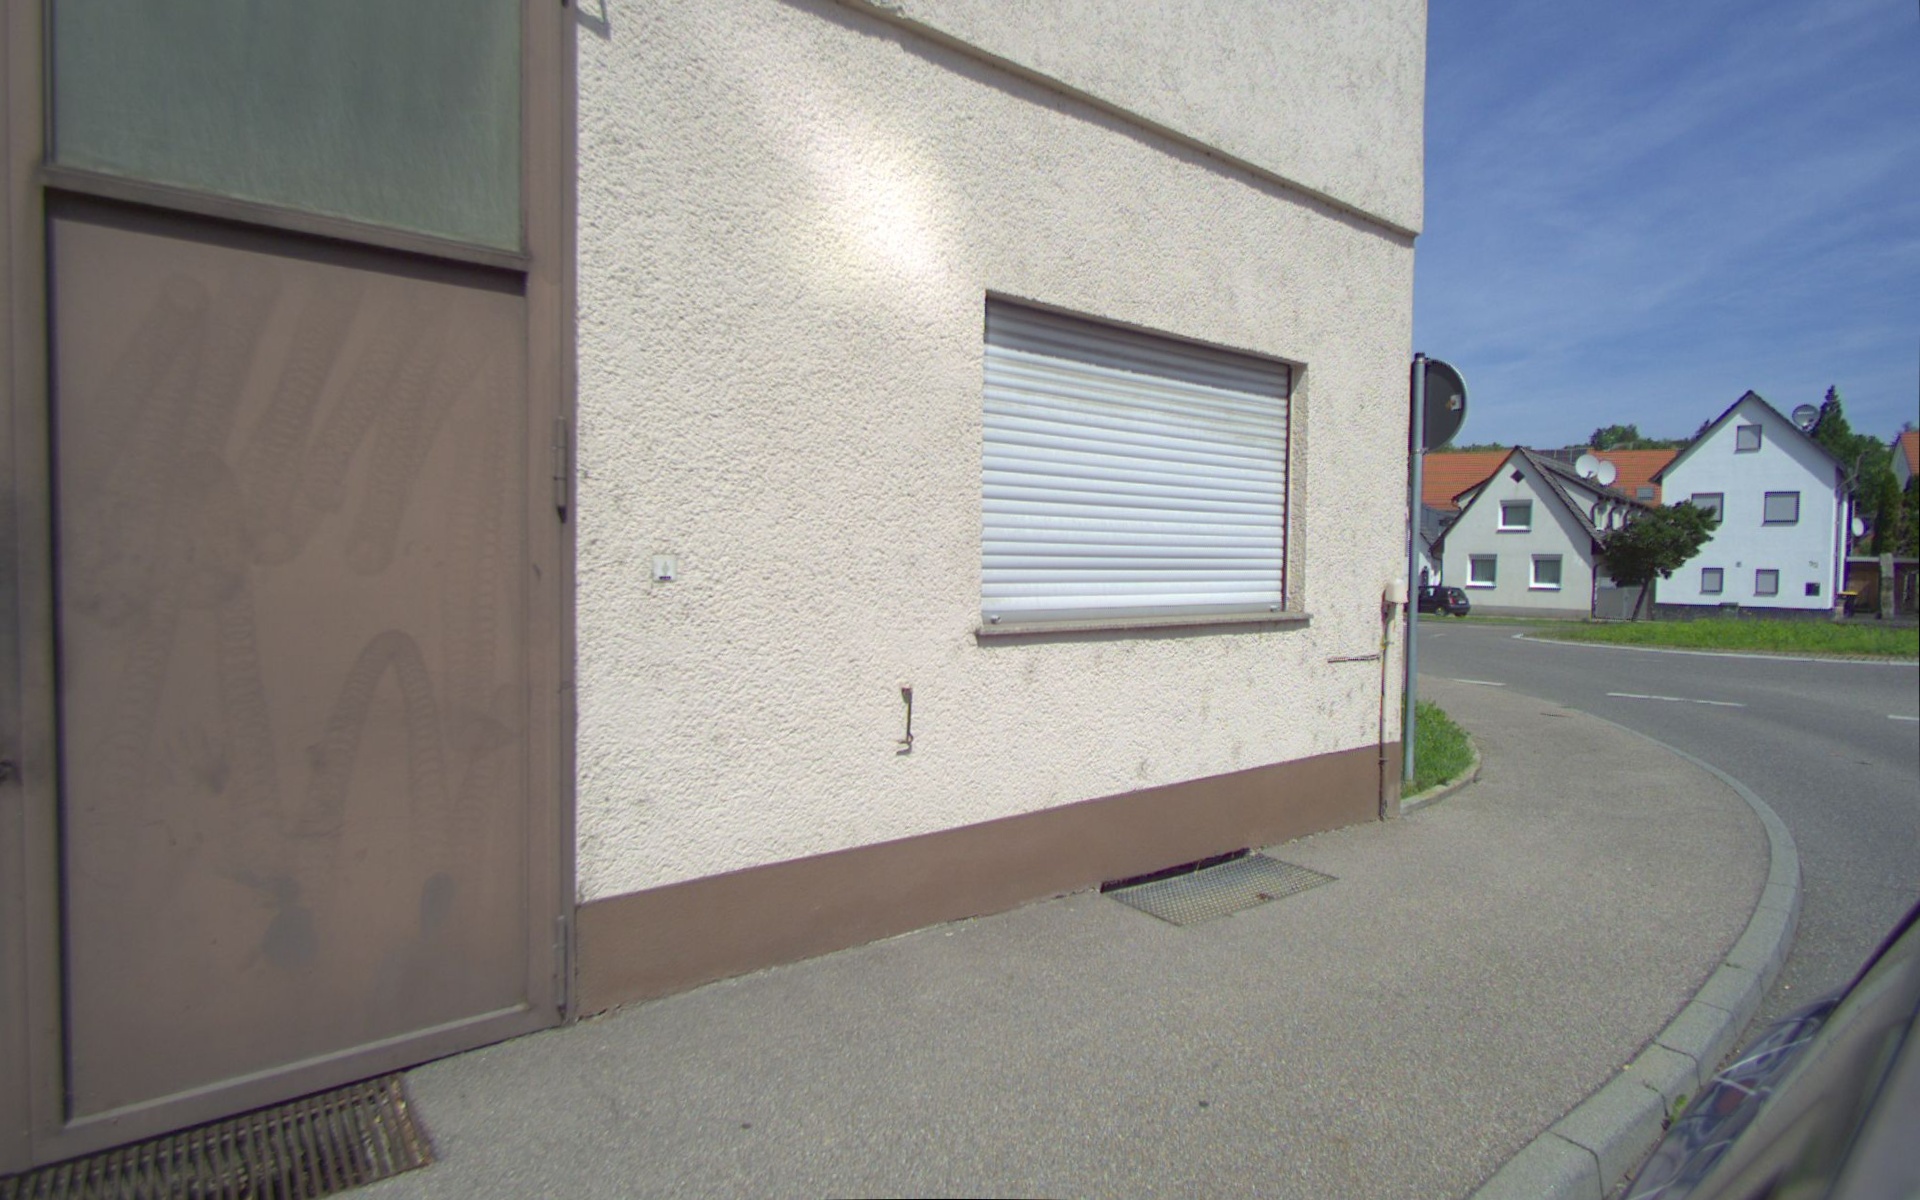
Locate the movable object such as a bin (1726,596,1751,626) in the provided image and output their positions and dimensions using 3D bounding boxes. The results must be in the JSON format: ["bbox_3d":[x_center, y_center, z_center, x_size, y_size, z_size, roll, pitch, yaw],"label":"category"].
[{"bbox_3d":[27.876,0.381,36.242,0.575,1.061,0.893,2,1,32],"label":"movable object such as a bin"}]

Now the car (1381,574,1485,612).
[{"bbox_3d":[21.175,-0.351,45.435,1.746,1.458,3.846,-4,5,-37],"label":"car"}]
